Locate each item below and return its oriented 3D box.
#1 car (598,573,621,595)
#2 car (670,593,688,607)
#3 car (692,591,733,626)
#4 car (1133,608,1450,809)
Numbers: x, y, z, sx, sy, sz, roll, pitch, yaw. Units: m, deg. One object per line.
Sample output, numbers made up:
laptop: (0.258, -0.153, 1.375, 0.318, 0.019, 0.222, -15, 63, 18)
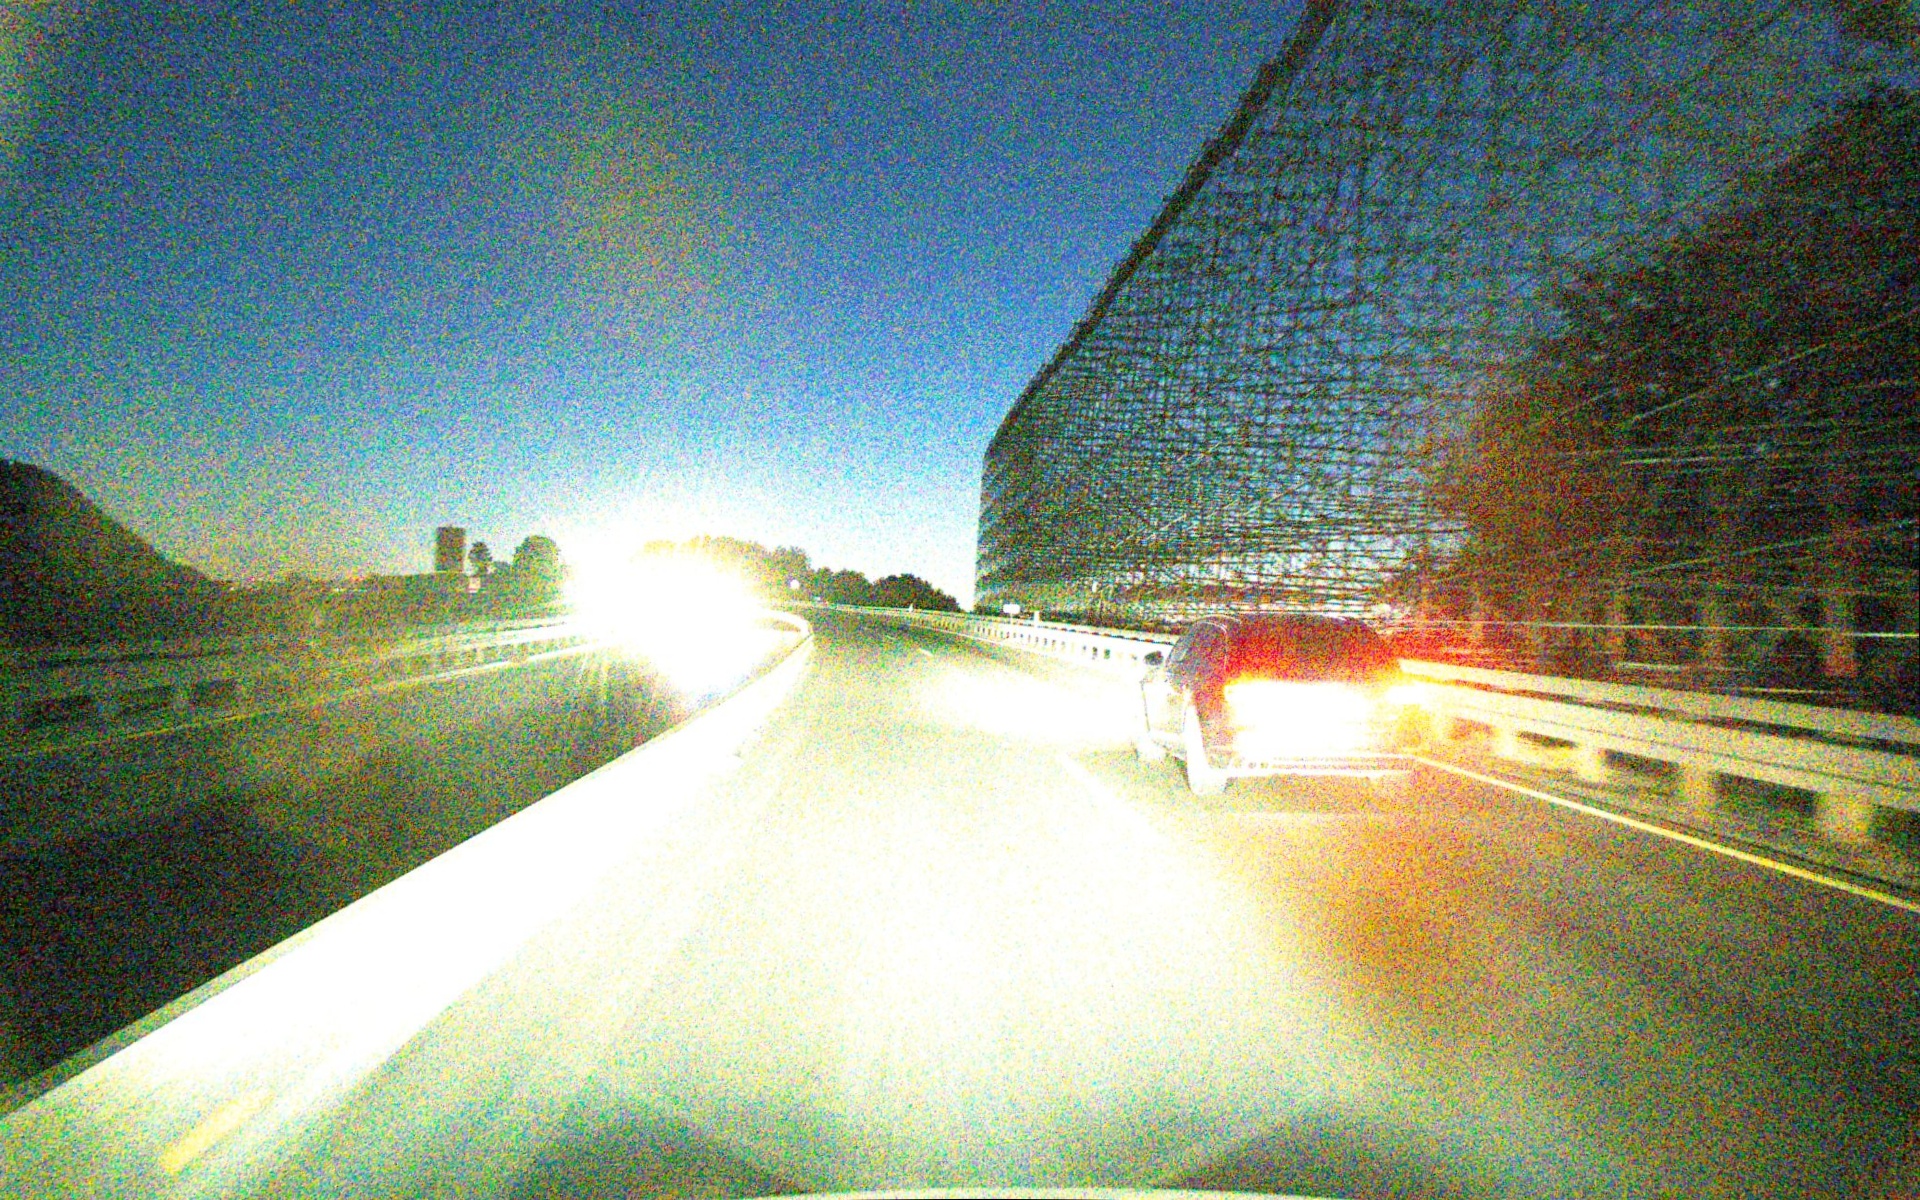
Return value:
car: (-54.212, -2.487, 255.886, 2.449, 3.160, 7.342, 0, -1, -20)
car: (-30.358, -0.020, 178.671, 1.655, 1.484, 4.185, 0, 0, -13)
car: (-12.237, 0.444, 81.844, 1.975, 1.668, 4.853, 0, -1, -8)
car: (2.691, 0.806, 14.591, 1.771, 1.451, 4.874, 0, 0, -1)
